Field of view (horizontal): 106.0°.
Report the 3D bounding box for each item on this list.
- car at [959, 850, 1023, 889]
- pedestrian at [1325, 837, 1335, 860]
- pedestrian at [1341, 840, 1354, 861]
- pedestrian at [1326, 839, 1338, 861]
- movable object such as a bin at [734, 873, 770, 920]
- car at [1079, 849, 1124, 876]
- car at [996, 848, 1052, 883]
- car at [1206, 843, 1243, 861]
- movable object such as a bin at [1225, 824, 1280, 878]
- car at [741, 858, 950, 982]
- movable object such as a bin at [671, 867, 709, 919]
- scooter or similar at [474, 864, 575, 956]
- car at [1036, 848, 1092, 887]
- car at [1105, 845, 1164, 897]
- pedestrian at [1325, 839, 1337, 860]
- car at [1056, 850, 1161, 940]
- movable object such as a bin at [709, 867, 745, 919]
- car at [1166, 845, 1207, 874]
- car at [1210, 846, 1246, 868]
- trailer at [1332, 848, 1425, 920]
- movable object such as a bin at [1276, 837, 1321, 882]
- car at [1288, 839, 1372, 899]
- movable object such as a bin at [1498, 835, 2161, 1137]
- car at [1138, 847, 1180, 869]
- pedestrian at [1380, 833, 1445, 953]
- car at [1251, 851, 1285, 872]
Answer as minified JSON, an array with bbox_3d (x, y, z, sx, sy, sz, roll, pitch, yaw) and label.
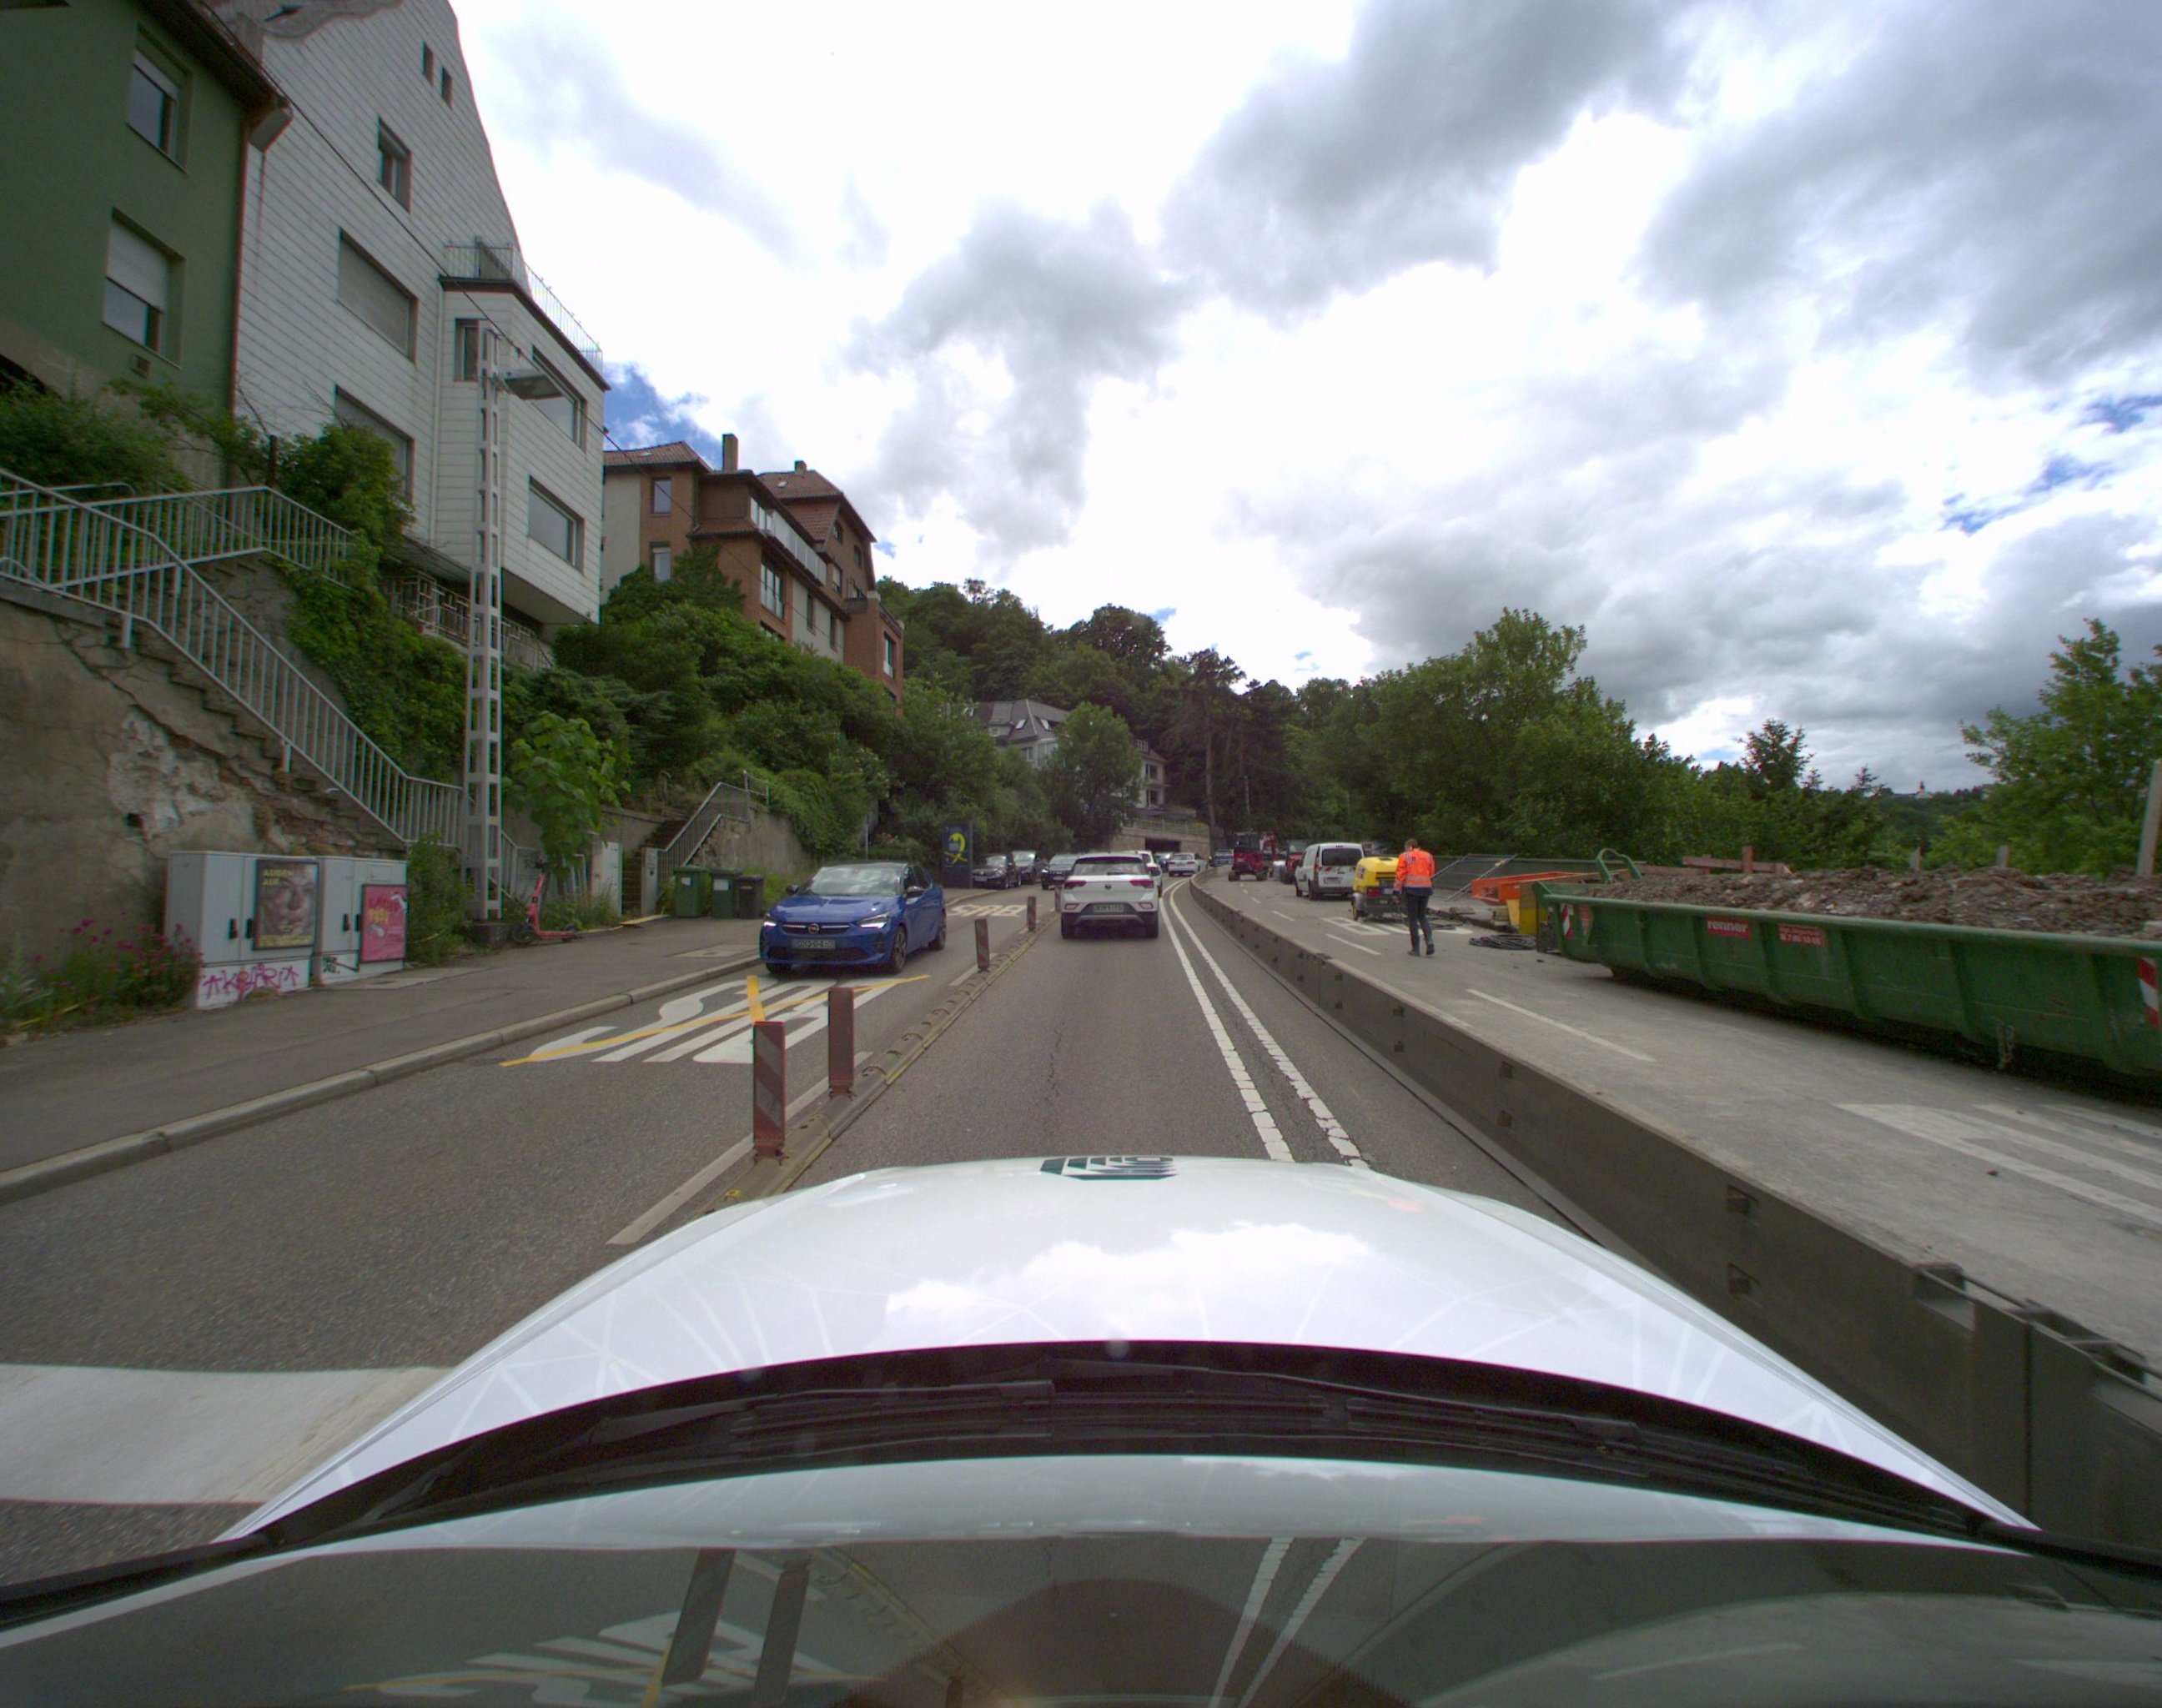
[{"bbox_3d":[-3.769,0.603,34.741,1.784,1.510,4.009,1,0,8],"label":"car"},{"bbox_3d":[21.004,-0.466,68.761,0.685,1.906,0.828,-2,0,12],"label":"pedestrian"},{"bbox_3d":[22.111,-0.314,67.576,0.775,1.687,0.790,-2,0,40],"label":"pedestrian"},{"bbox_3d":[21.814,-0.358,70.714,0.868,1.822,0.883,-2,0,24],"label":"pedestrian"},{"bbox_3d":[-6.889,0.882,17.067,0.466,0.934,0.624,0,0,1],"label":"movable object such as a bin"},{"bbox_3d":[1.226,0.465,46.151,1.783,1.482,4.343,0,0,12],"label":"car"},{"bbox_3d":[-2.750,0.517,40.054,1.676,1.606,4.199,1,0,11],"label":"car"},{"bbox_3d":[12.848,-0.223,72.726,1.750,1.568,4.257,0,1,33],"label":"car"},{"bbox_3d":[9.176,-0.165,43.322,2.193,2.662,4.969,-1,0,19],"label":"movable object such as a bin"},{"bbox_3d":[-3.117,0.798,11.606,1.719,1.420,3.822,-1,0,2],"label":"car"},{"bbox_3d":[-8.148,0.800,16.973,0.466,1.053,0.624,0,0,1],"label":"movable object such as a bin"},{"bbox_3d":[-7.954,0.763,11.714,0.458,1.205,1.435,1,0,0],"label":"scooter or similar"},{"bbox_3d":[-0.691,0.558,35.534,1.805,1.622,3.828,0,0,8],"label":"car"},{"bbox_3d":[1.982,0.566,29.206,1.800,1.663,4.008,-2,0,7],"label":"car"},{"bbox_3d":[21.413,-0.375,69.795,0.868,1.731,0.883,-2,0,24],"label":"pedestrian"},{"bbox_3d":[0.510,0.687,15.985,1.803,1.531,4.001,0,0,1],"label":"car"},{"bbox_3d":[-7.411,0.807,17.074,0.466,1.053,0.624,0,0,1],"label":"movable object such as a bin"},{"bbox_3d":[6.624,0.320,50.823,1.795,1.663,4.019,-3,0,18],"label":"car"},{"bbox_3d":[11.217,0.199,61.770,1.778,1.510,4.022,-3,0,23],"label":"car"},{"bbox_3d":[6.689,0.611,18.614,1.281,1.475,3.642,-1,0,8],"label":"trailer"},{"bbox_3d":[10.194,0.227,38.358,1.691,1.942,4.176,-1,0,10],"label":"movable object such as a bin"},{"bbox_3d":[7.998,0.428,26.515,1.823,1.779,4.276,-1,0,6],"label":"car"},{"bbox_3d":[6.794,0.664,7.455,2.366,1.561,7.099,-1,0,0],"label":"movable object such as a bin"},{"bbox_3d":[5.680,0.259,58.964,1.780,1.446,4.387,0,2,22],"label":"car"},{"bbox_3d":[4.858,0.551,11.970,0.643,1.701,0.850,0,0,2],"label":"pedestrian"},{"bbox_3d":[16.261,0.632,70.747,1.792,1.663,4.025,-3,0,29],"label":"car"}]
